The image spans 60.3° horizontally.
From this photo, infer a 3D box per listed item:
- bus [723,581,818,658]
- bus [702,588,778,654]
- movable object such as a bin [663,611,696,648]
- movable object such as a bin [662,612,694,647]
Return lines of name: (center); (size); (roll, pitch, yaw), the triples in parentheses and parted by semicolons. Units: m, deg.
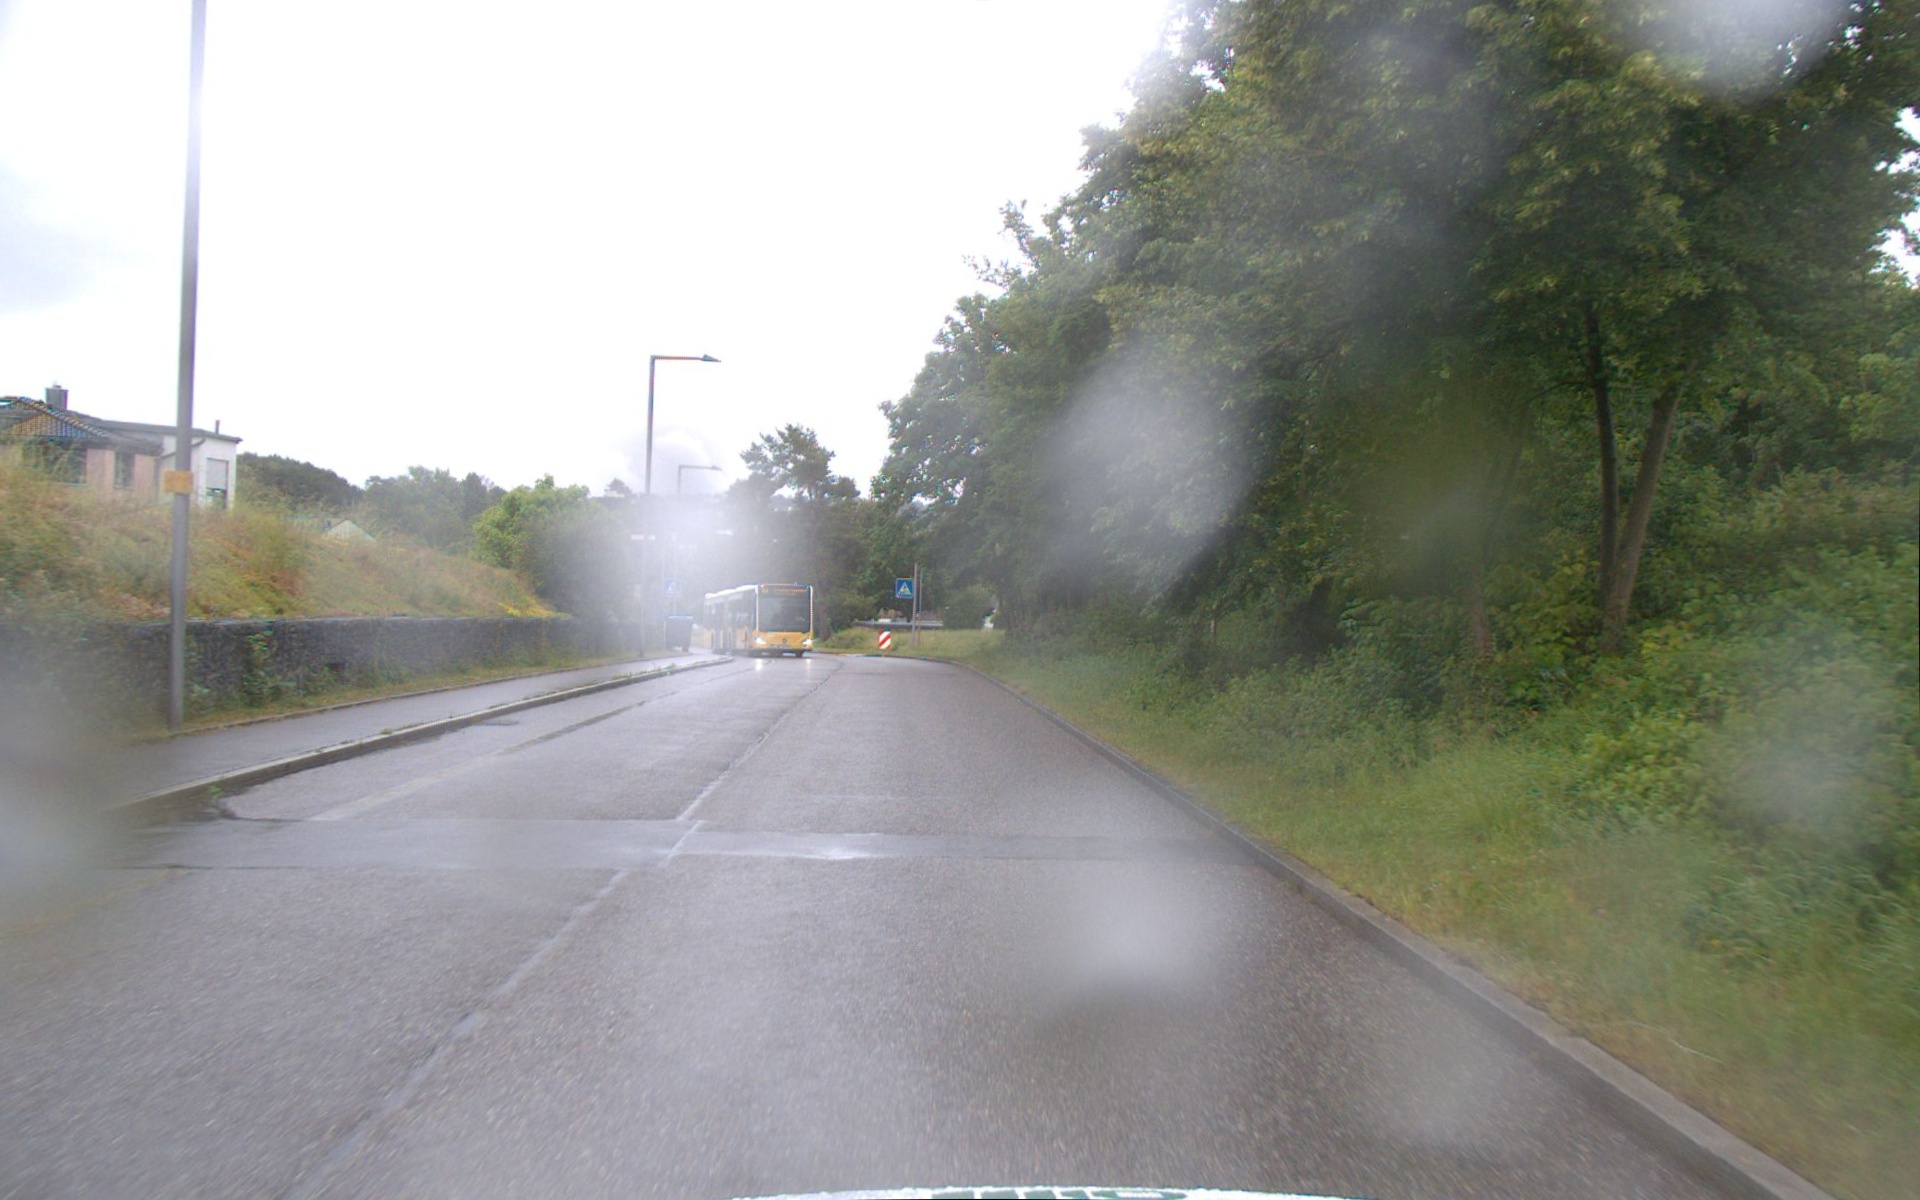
bus: (-8.491, 0.893, 73.037); (2.596, 3.121, 10.810); (1, -1, -15)
bus: (-10.961, 1.057, 81.915); (2.597, 3.086, 7.631); (1, -1, -16)
movable object such as a bin: (-10.929, 1.151, 64.404); (1.111, 1.362, 1.394); (4, -2, -12)
movable object such as a bin: (-11.246, 1.176, 65.932); (1.111, 1.324, 1.394); (5, -2, -12)
